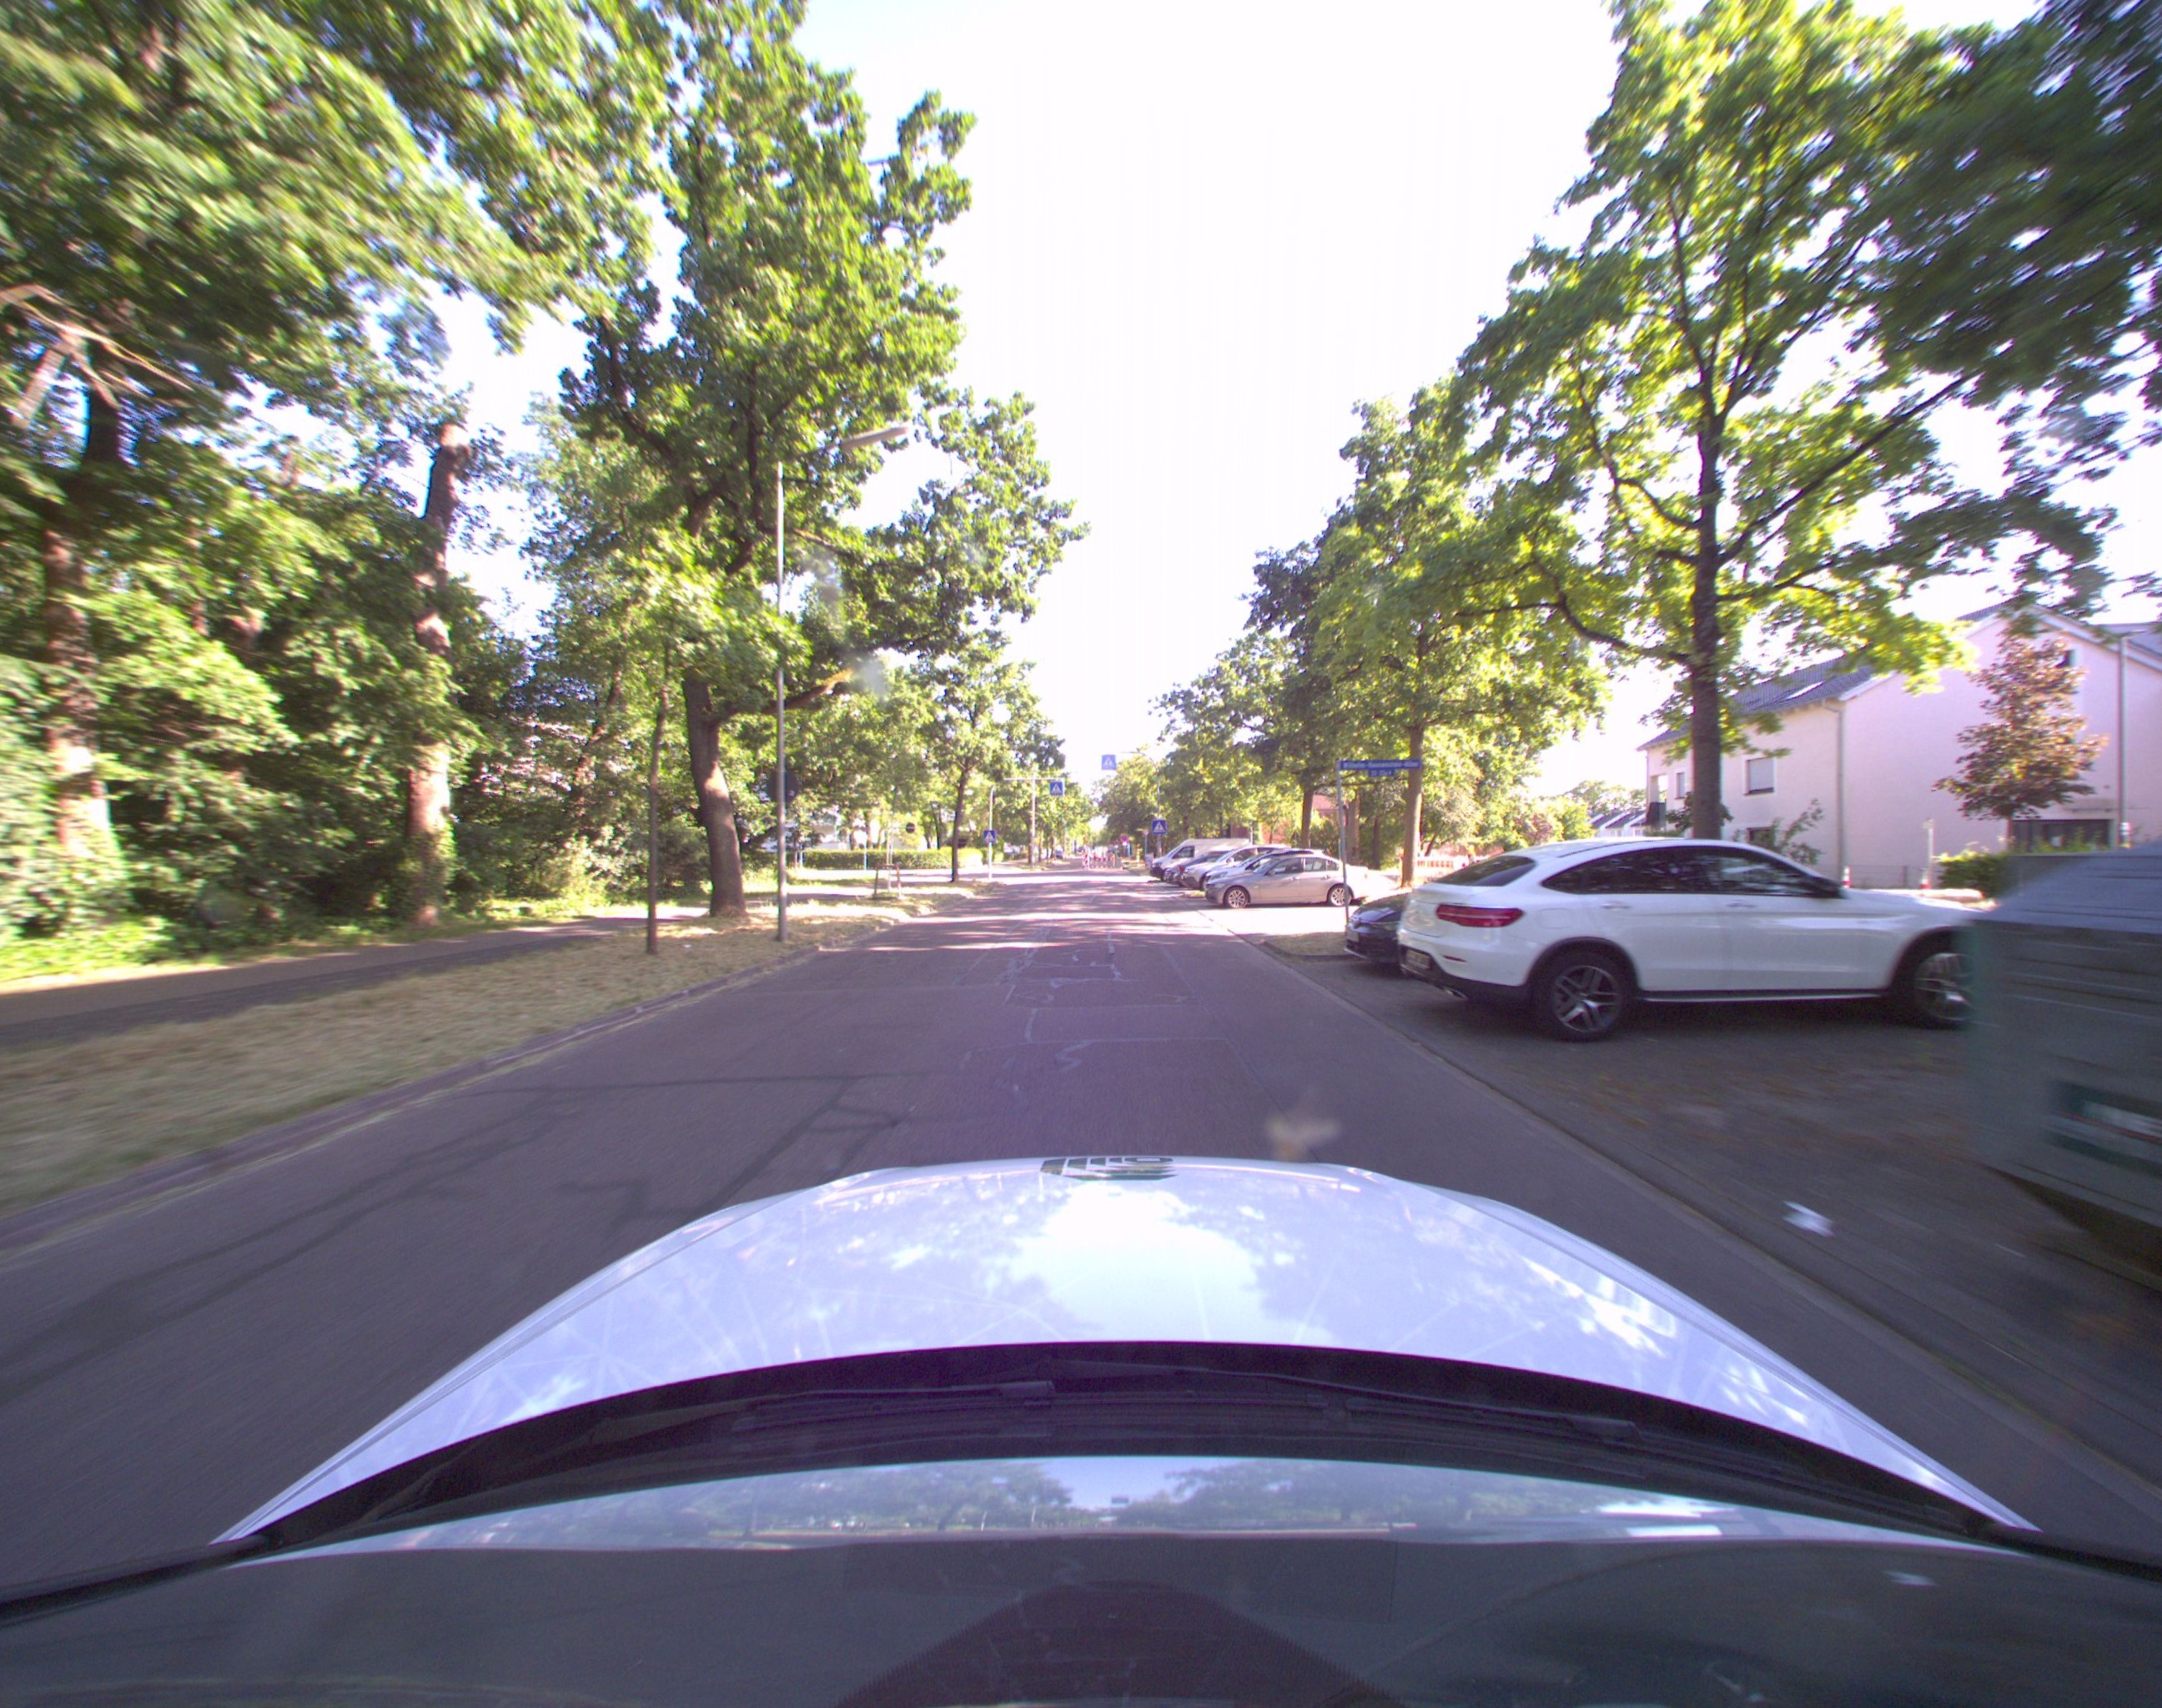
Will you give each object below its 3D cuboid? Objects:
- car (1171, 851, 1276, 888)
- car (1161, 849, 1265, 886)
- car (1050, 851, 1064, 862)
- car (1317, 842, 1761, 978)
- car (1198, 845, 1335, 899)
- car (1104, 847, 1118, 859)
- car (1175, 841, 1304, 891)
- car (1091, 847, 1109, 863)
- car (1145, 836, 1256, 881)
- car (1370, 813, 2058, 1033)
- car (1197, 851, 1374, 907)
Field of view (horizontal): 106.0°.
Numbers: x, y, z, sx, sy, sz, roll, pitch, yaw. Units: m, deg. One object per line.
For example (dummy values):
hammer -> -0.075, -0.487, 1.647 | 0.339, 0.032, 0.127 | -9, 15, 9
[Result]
car -> 5.663, 0.611, 32.809 | 3.971, 1.433, 1.902 | 0, 0, 2
car -> 5.657, 0.568, 35.302 | 4.200, 1.568, 1.933 | 0, 0, -1
car -> -3.638, 0.375, 123.607 | 1.987, 1.716, 4.000 | 0, 0, 1
car -> 5.667, 0.655, 10.534 | 4.655, 1.455, 1.917 | -2, 0, 0
car -> 5.725, 0.551, 25.487 | 3.872, 1.497, 1.777 | -2, 0, 0
car -> 4.319, -0.134, 117.296 | 1.987, 1.716, 4.000 | 0, 0, 1
car -> 5.799, 0.429, 30.174 | 4.371, 1.651, 1.850 | -2, 0, -1
car -> 2.221, 0.105, 96.403 | 1.987, 1.933, 4.000 | 0, 0, 1
car -> 5.870, 0.232, 40.488 | 5.171, 2.105, 2.082 | -1, 0, -1
car -> 5.266, 0.541, 7.323 | 4.653, 1.580, 1.917 | -2, 0, 1
car -> 5.554, 0.665, 22.567 | 4.429, 1.390, 1.911 | -1, 0, 1
